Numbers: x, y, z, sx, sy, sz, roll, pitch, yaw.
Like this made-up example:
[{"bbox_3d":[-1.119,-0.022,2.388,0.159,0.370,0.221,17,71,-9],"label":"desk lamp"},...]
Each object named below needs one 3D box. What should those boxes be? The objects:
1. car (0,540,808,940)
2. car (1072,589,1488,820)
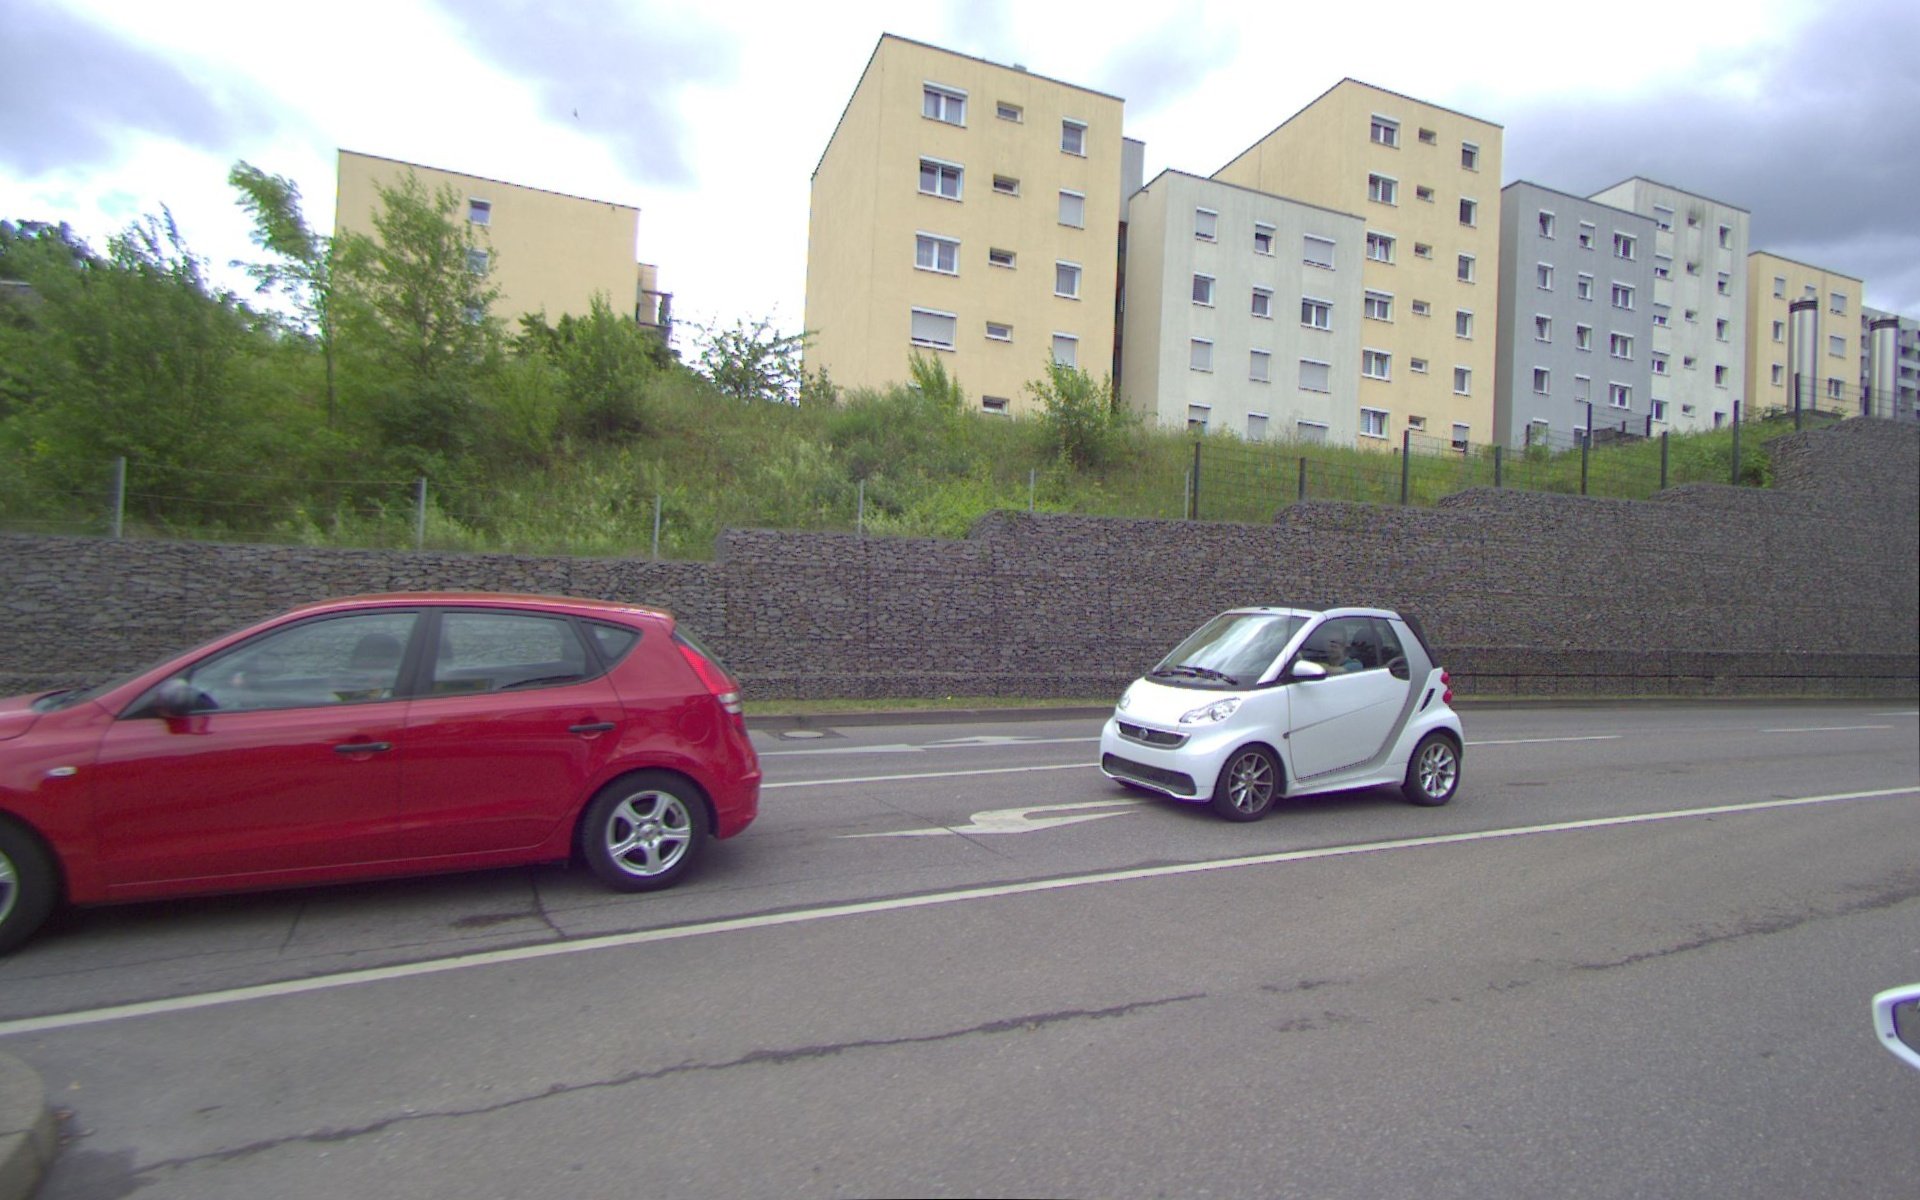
[{"bbox_3d":[-3.010,0.561,5.200,4.040,1.544,1.748,2,0,-27],"label":"car"},{"bbox_3d":[2.542,0.725,8.041,2.874,1.544,1.539,1,0,-25],"label":"car"}]
